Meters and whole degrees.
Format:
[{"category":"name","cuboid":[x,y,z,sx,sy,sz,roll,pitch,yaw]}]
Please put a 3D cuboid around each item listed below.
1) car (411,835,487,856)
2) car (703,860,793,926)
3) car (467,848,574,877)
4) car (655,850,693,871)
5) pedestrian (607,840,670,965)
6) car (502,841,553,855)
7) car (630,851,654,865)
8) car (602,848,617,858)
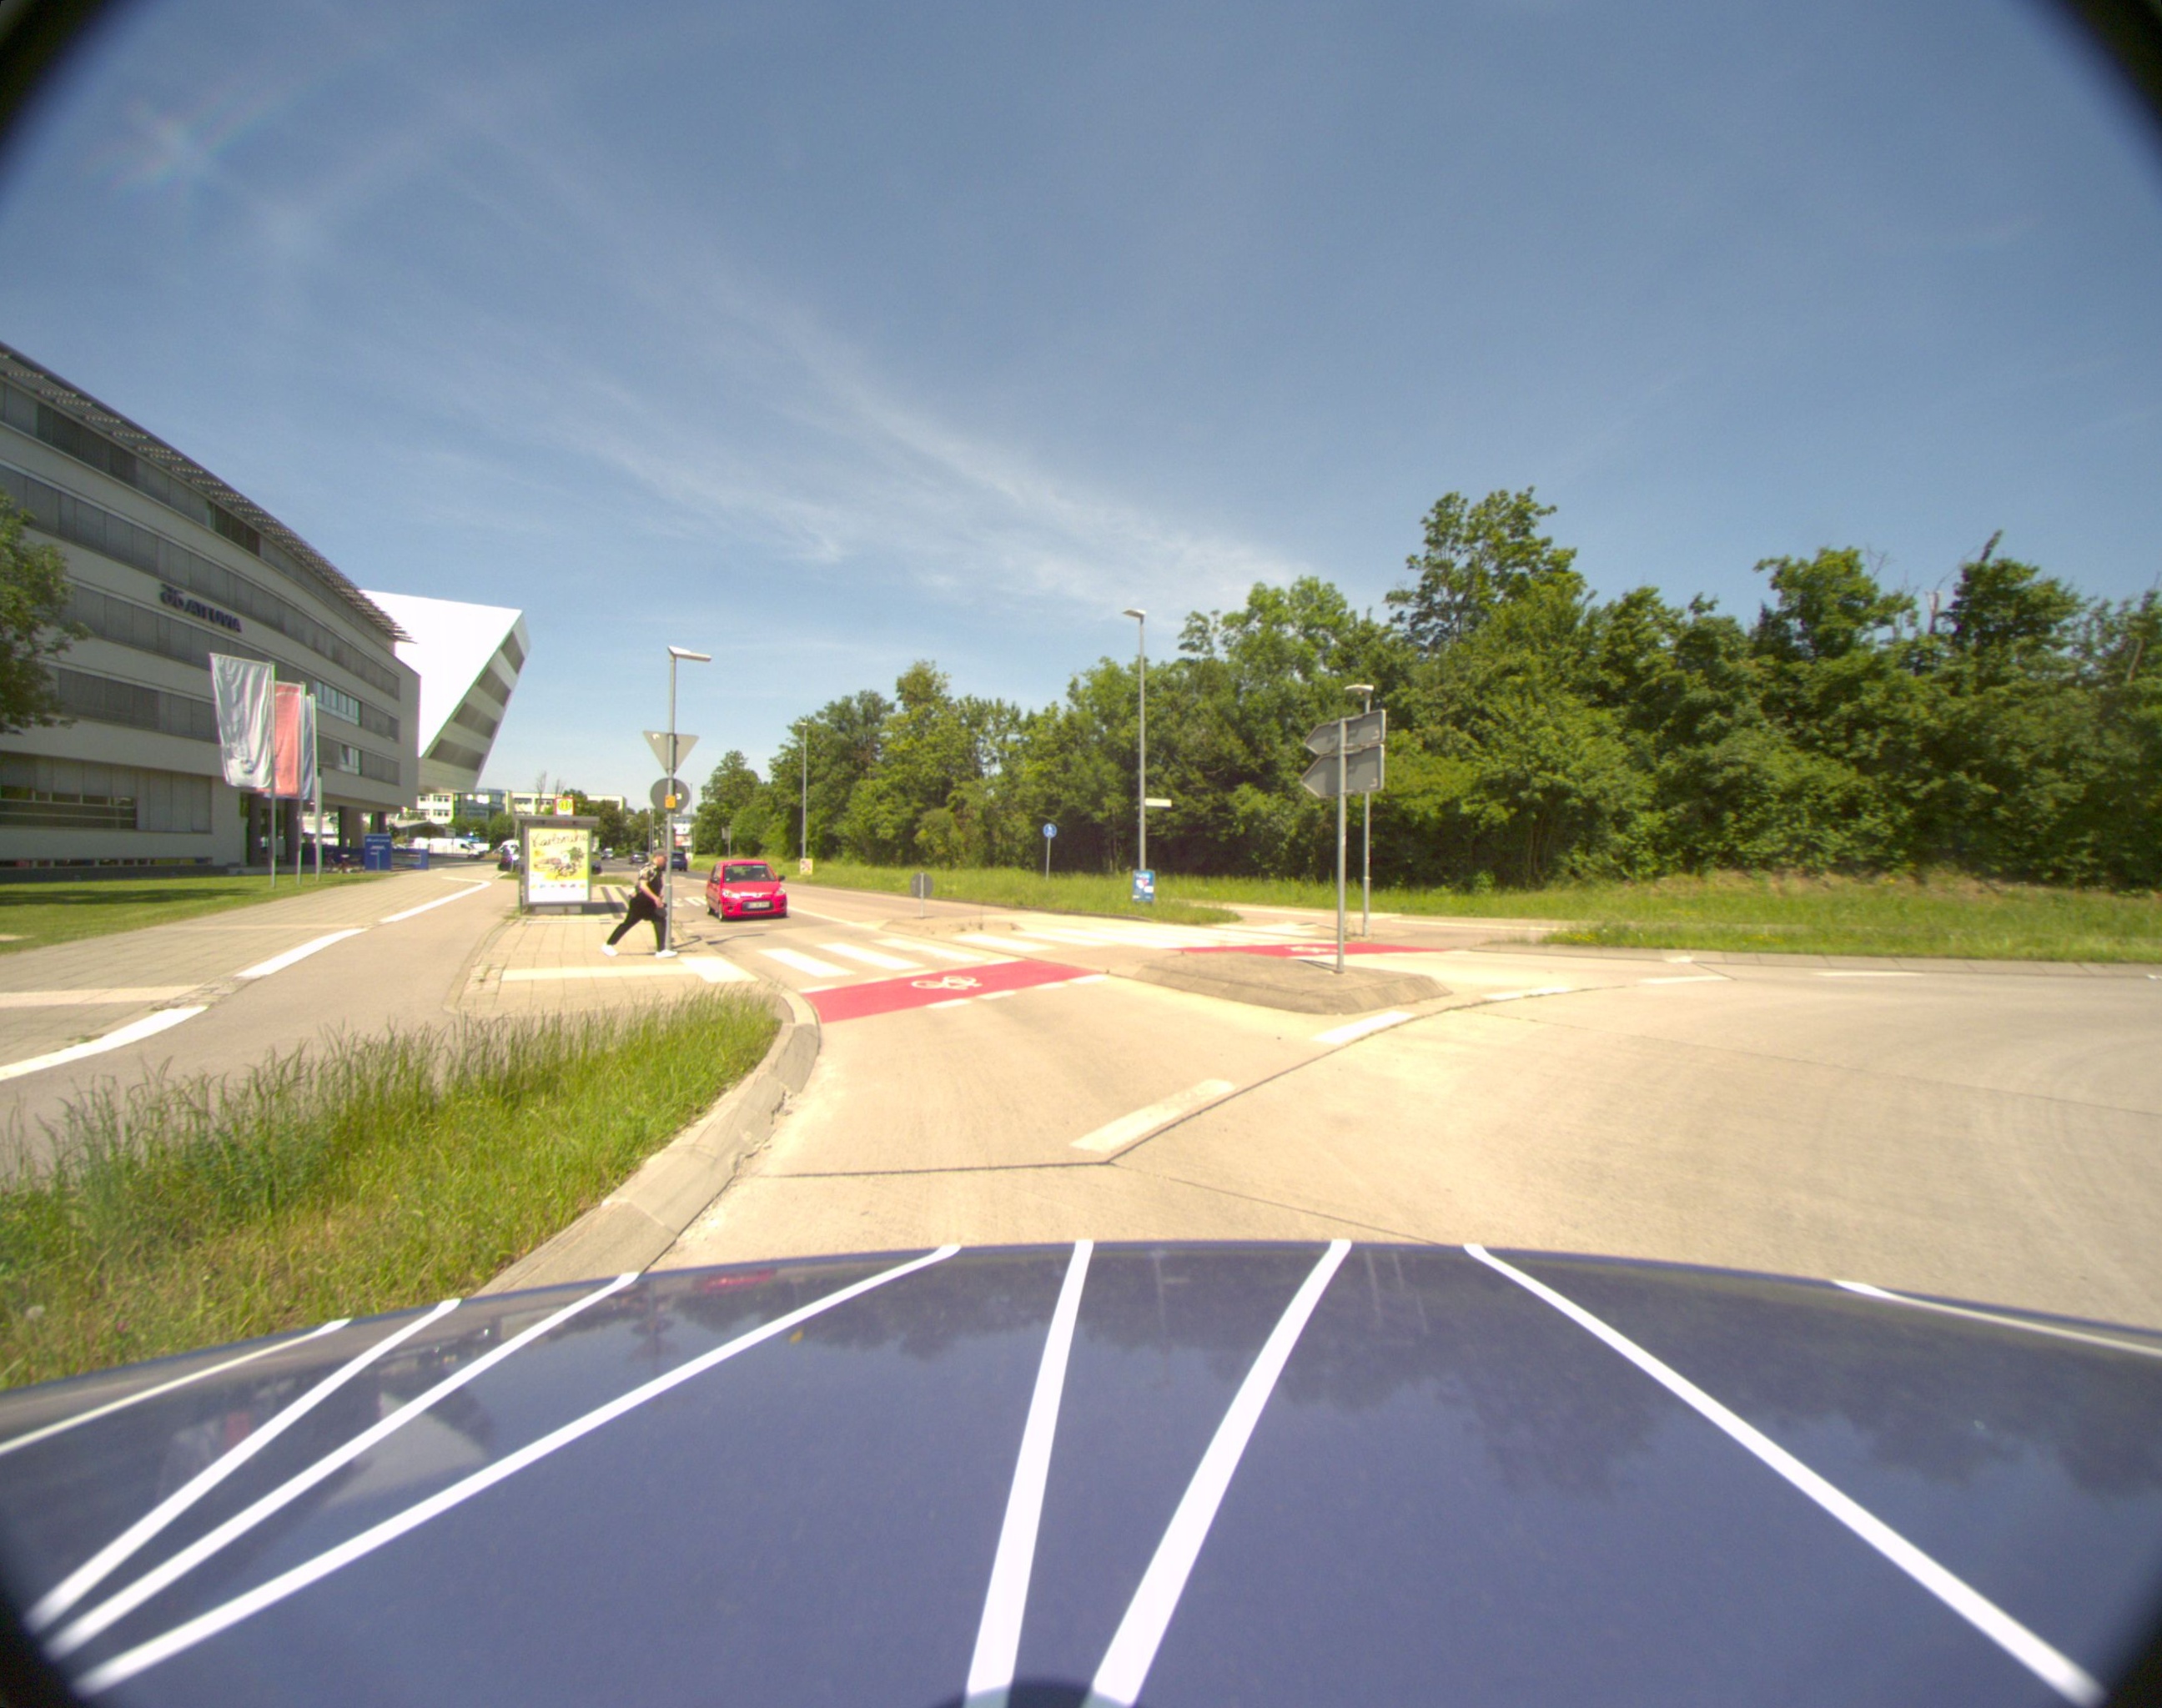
[{"category":"car","cuboid":[-80.154,-1.120,96.501,6.980,2.647,2.249,-1,2,-26]},{"category":"car","cuboid":[-8.892,0.963,20.185,1.666,1.495,3.348,-1,2,-33]},{"category":"car","cuboid":[-30.591,0.476,41.629,4.592,1.423,1.822,3,0,-36]},{"category":"car","cuboid":[-32.569,0.568,60.749,2.004,1.586,4.311,1,-2,-38]},{"category":"pedestrian","cuboid":[-6.734,0.713,11.546,0.712,1.811,0.824,2,0,-34]},{"category":"car","cuboid":[-89.716,-0.944,123.263,6.509,2.137,2.159,-1,2,-28]},{"category":"car","cuboid":[-49.271,0.445,85.206,2.004,1.470,4.277,2,-1,-35]},{"category":"car","cuboid":[-78.877,-0.149,127.093,2.003,1.622,3.989,-1,2,-33]}]
